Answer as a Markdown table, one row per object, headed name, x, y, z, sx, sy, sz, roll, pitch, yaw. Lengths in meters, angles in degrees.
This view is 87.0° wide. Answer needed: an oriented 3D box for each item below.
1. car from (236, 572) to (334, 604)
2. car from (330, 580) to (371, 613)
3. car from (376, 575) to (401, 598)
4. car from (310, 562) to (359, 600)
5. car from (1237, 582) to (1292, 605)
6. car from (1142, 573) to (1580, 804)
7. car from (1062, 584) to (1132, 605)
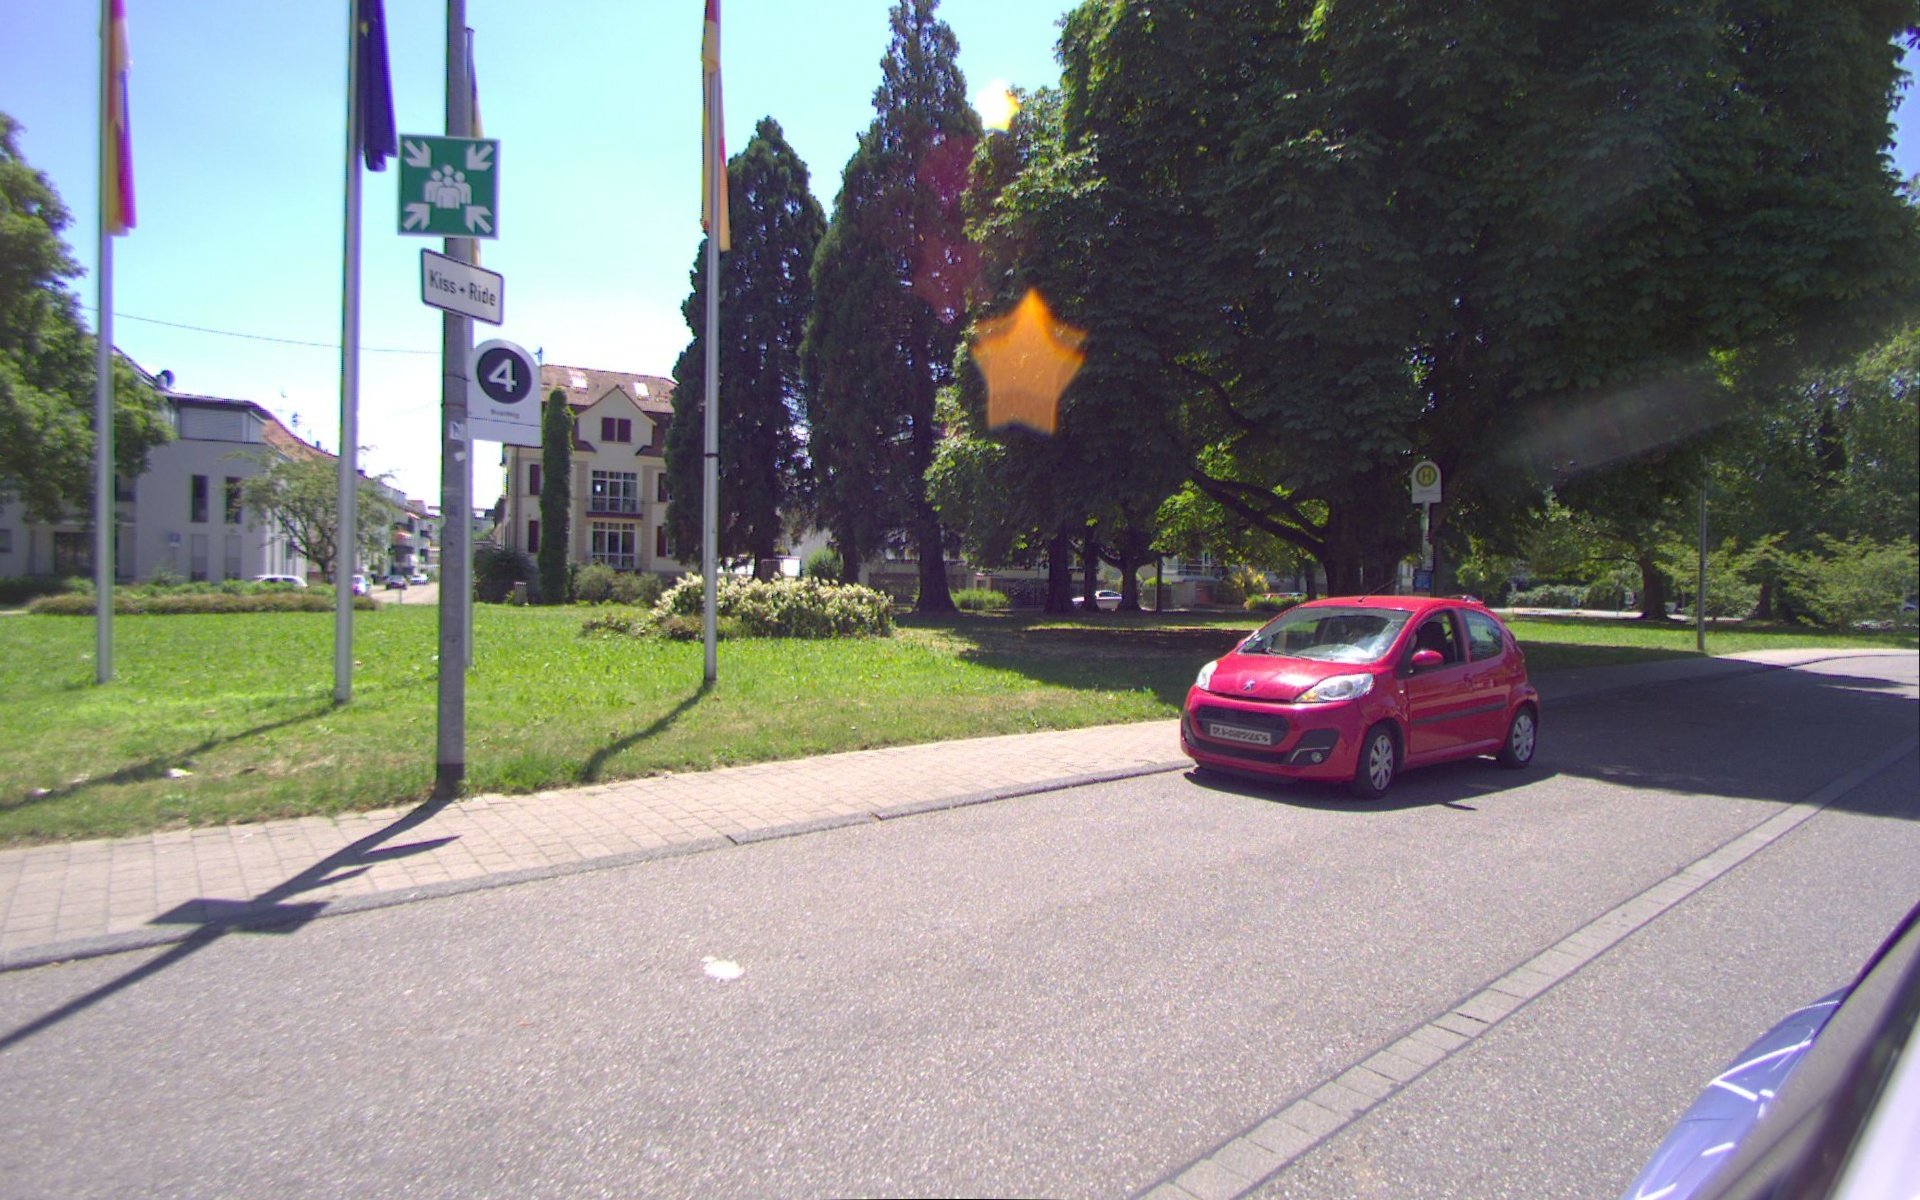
| name | x | y | z | sx | sy | sz | roll | pitch | yaw |
| --- | --- | --- | --- | --- | --- | --- | --- | --- | --- |
| car | -32.134 | -0.605 | 48.302 | 1.452 | 1.450 | 3.671 | 2 | 2 | 27 |
| car | -36.730 | -0.238 | 61.035 | 1.715 | 1.839 | 3.925 | -1 | 2 | -26 |
| car | -53.679 | -1.271 | 95.080 | 1.960 | 2.038 | 4.006 | -1 | 3 | -29 |
| car | -34.448 | -1.100 | 55.821 | 1.793 | 1.981 | 3.768 | -1 | 2 | -24 |
| car | 22.966 | -0.536 | 76.320 | 3.920 | 1.619 | 1.705 | -2 | 2 | -30 |
| car | 3.422 | 0.562 | 8.428 | 3.637 | 1.497 | 1.724 | 0 | 2 | -37 |
| car | 9.355 | -0.384 | 69.073 | 4.618 | 1.303 | 1.674 | -1 | 2 | -26 |
